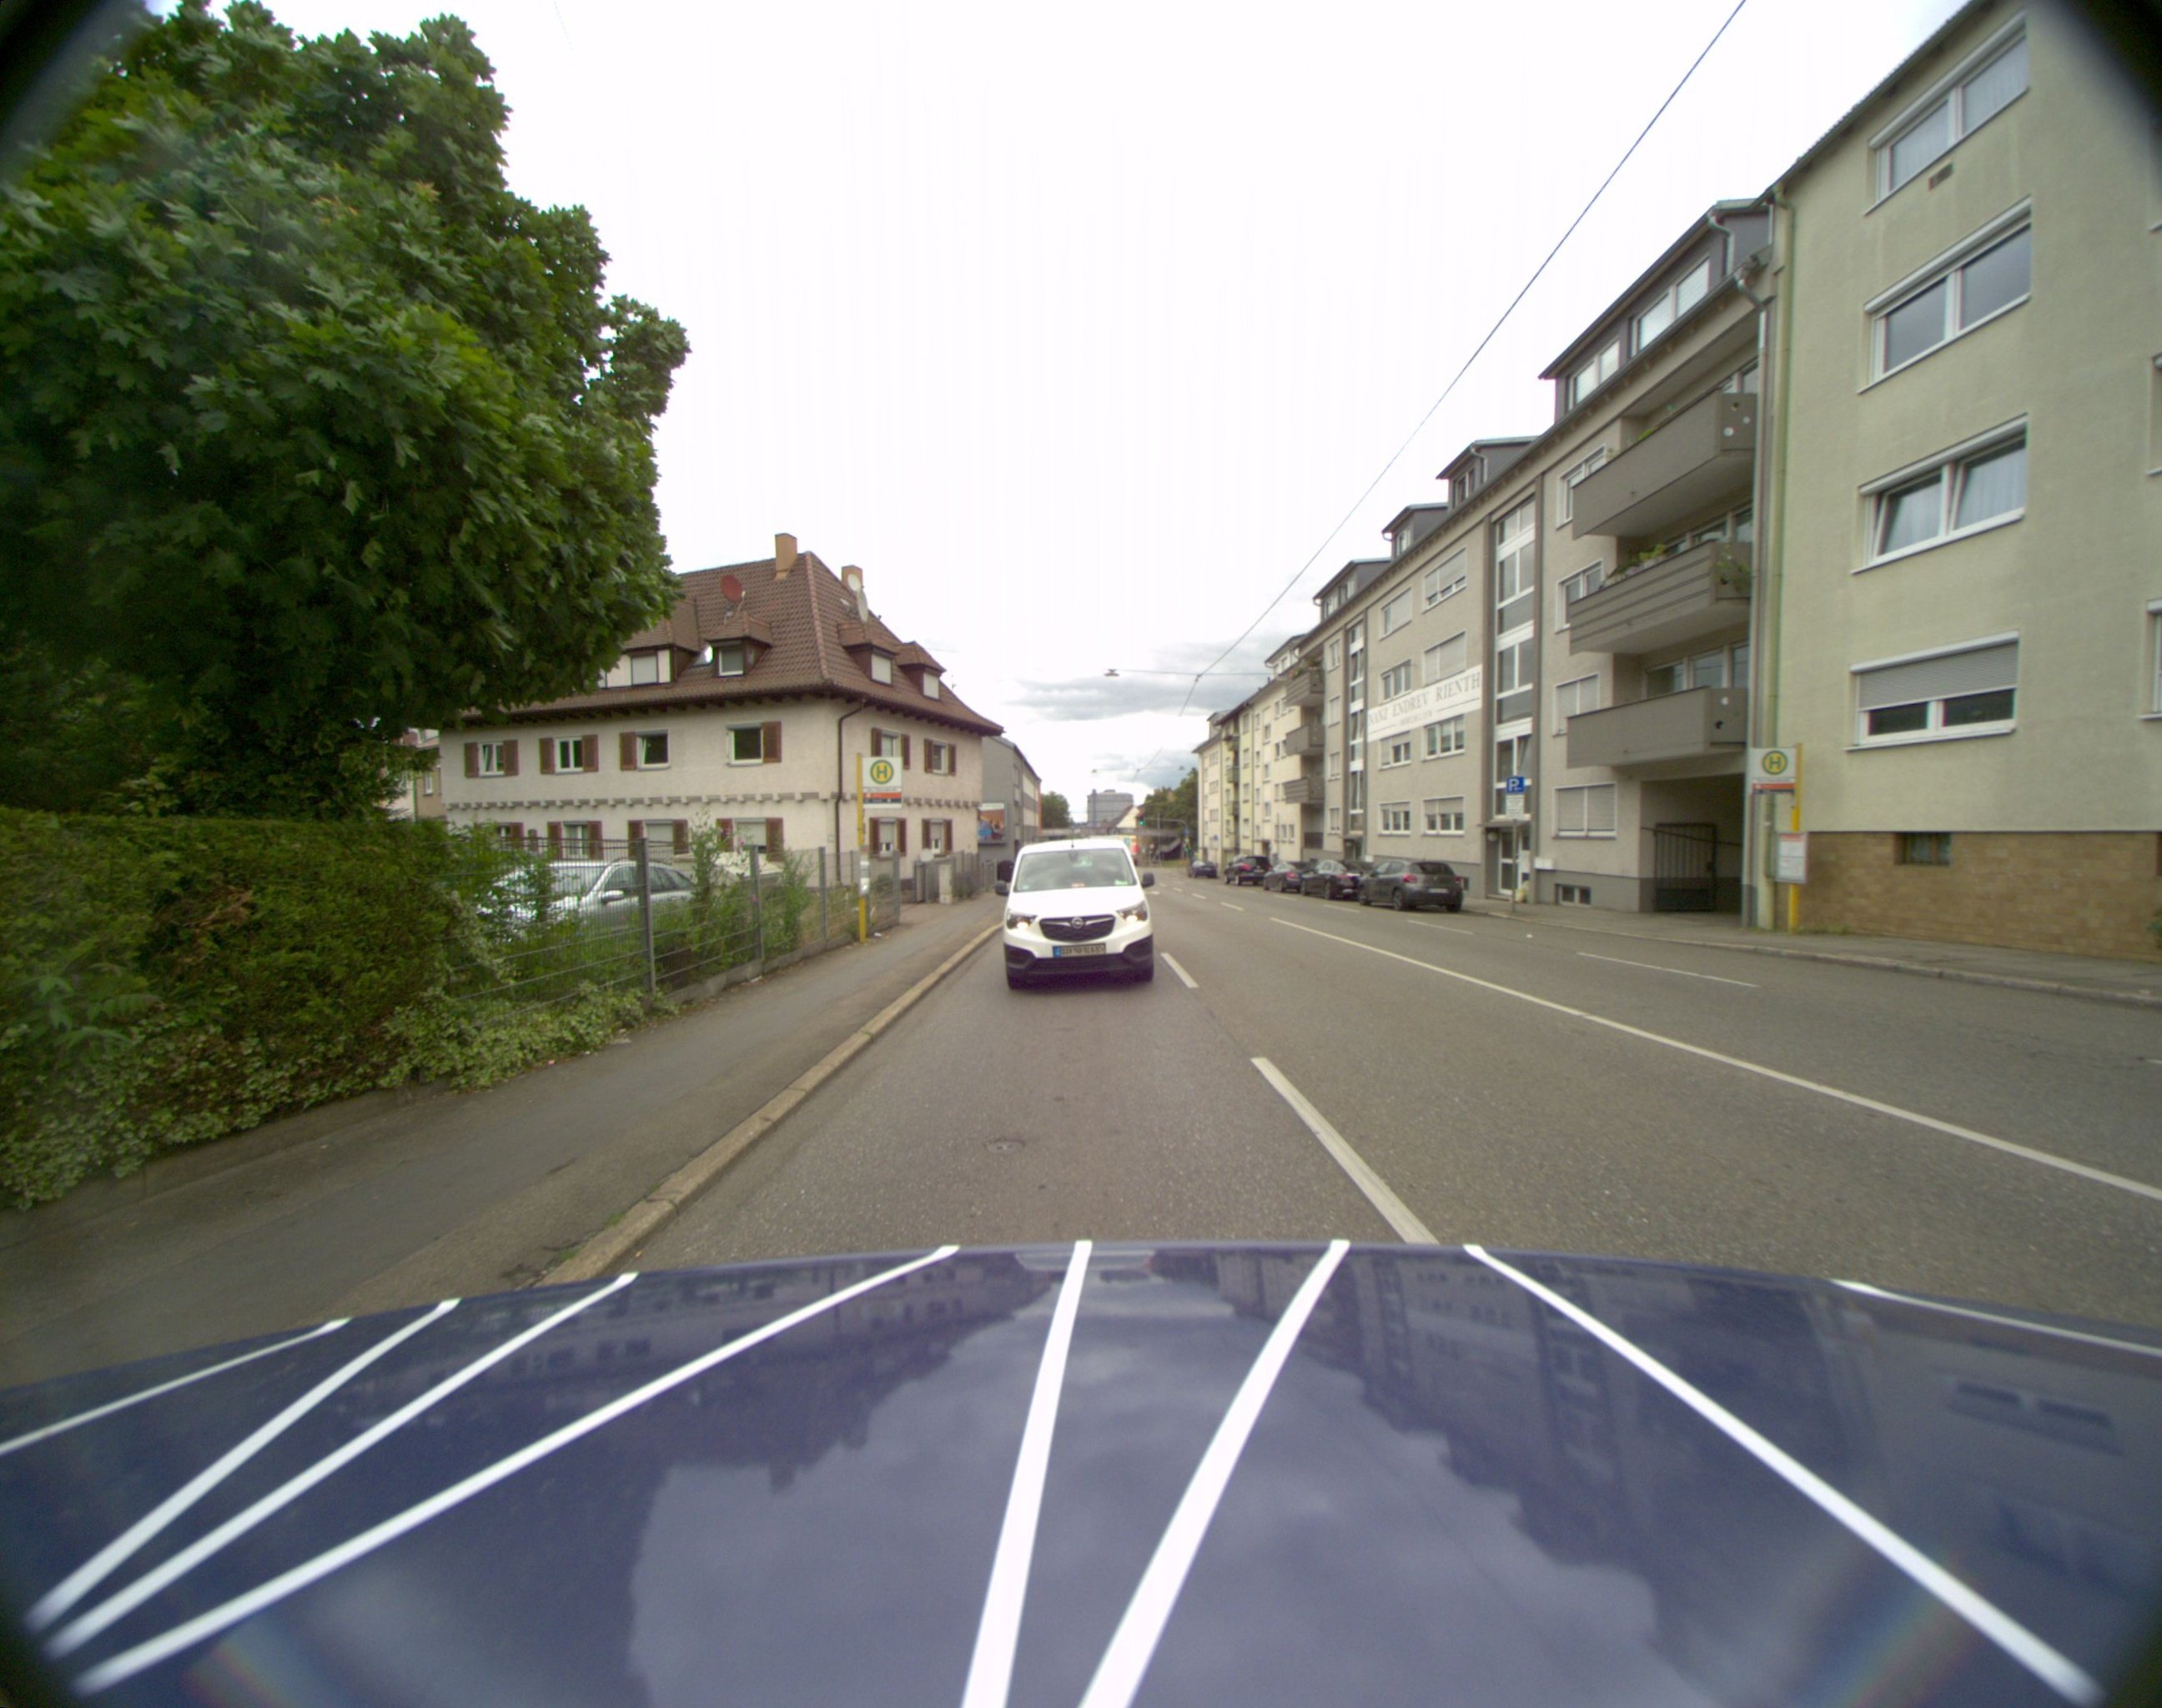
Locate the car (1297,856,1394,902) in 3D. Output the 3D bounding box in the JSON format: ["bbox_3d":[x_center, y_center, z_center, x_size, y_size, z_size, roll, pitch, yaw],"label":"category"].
[{"bbox_3d":[9.451,0.831,27.560,1.772,1.397,4.717,2,1,-1],"label":"car"}]

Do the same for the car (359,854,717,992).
[{"bbox_3d":[-6.621,0.727,9.976,1.804,1.413,4.263,0,0,-3],"label":"car"}]

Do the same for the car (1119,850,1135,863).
[{"bbox_3d":[5.966,0.362,98.059,1.875,1.569,4.308,2,1,2],"label":"car"}]

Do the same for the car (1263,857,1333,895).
[{"bbox_3d":[9.364,0.908,33.142,1.772,1.397,4.307,2,1,-1],"label":"car"}]

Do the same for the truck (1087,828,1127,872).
[{"bbox_3d":[2.183,-0.325,67.544,2.776,3.554,8.062,-1,0,-3],"label":"truck"}]

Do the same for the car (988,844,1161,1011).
[{"bbox_3d":[-0.089,0.785,10.313,1.803,1.736,3.999,-3,1,-1],"label":"car"}]

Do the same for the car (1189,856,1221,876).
[{"bbox_3d":[9.648,0.886,59.203,1.875,1.372,4.308,2,1,2],"label":"car"}]

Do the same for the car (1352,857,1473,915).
[{"bbox_3d":[9.486,0.866,22.067,1.772,1.428,3.801,2,1,-1],"label":"car"}]

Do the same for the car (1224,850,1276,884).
[{"bbox_3d":[9.367,0.694,42.458,1.875,1.743,4.307,2,1,-1],"label":"car"}]
